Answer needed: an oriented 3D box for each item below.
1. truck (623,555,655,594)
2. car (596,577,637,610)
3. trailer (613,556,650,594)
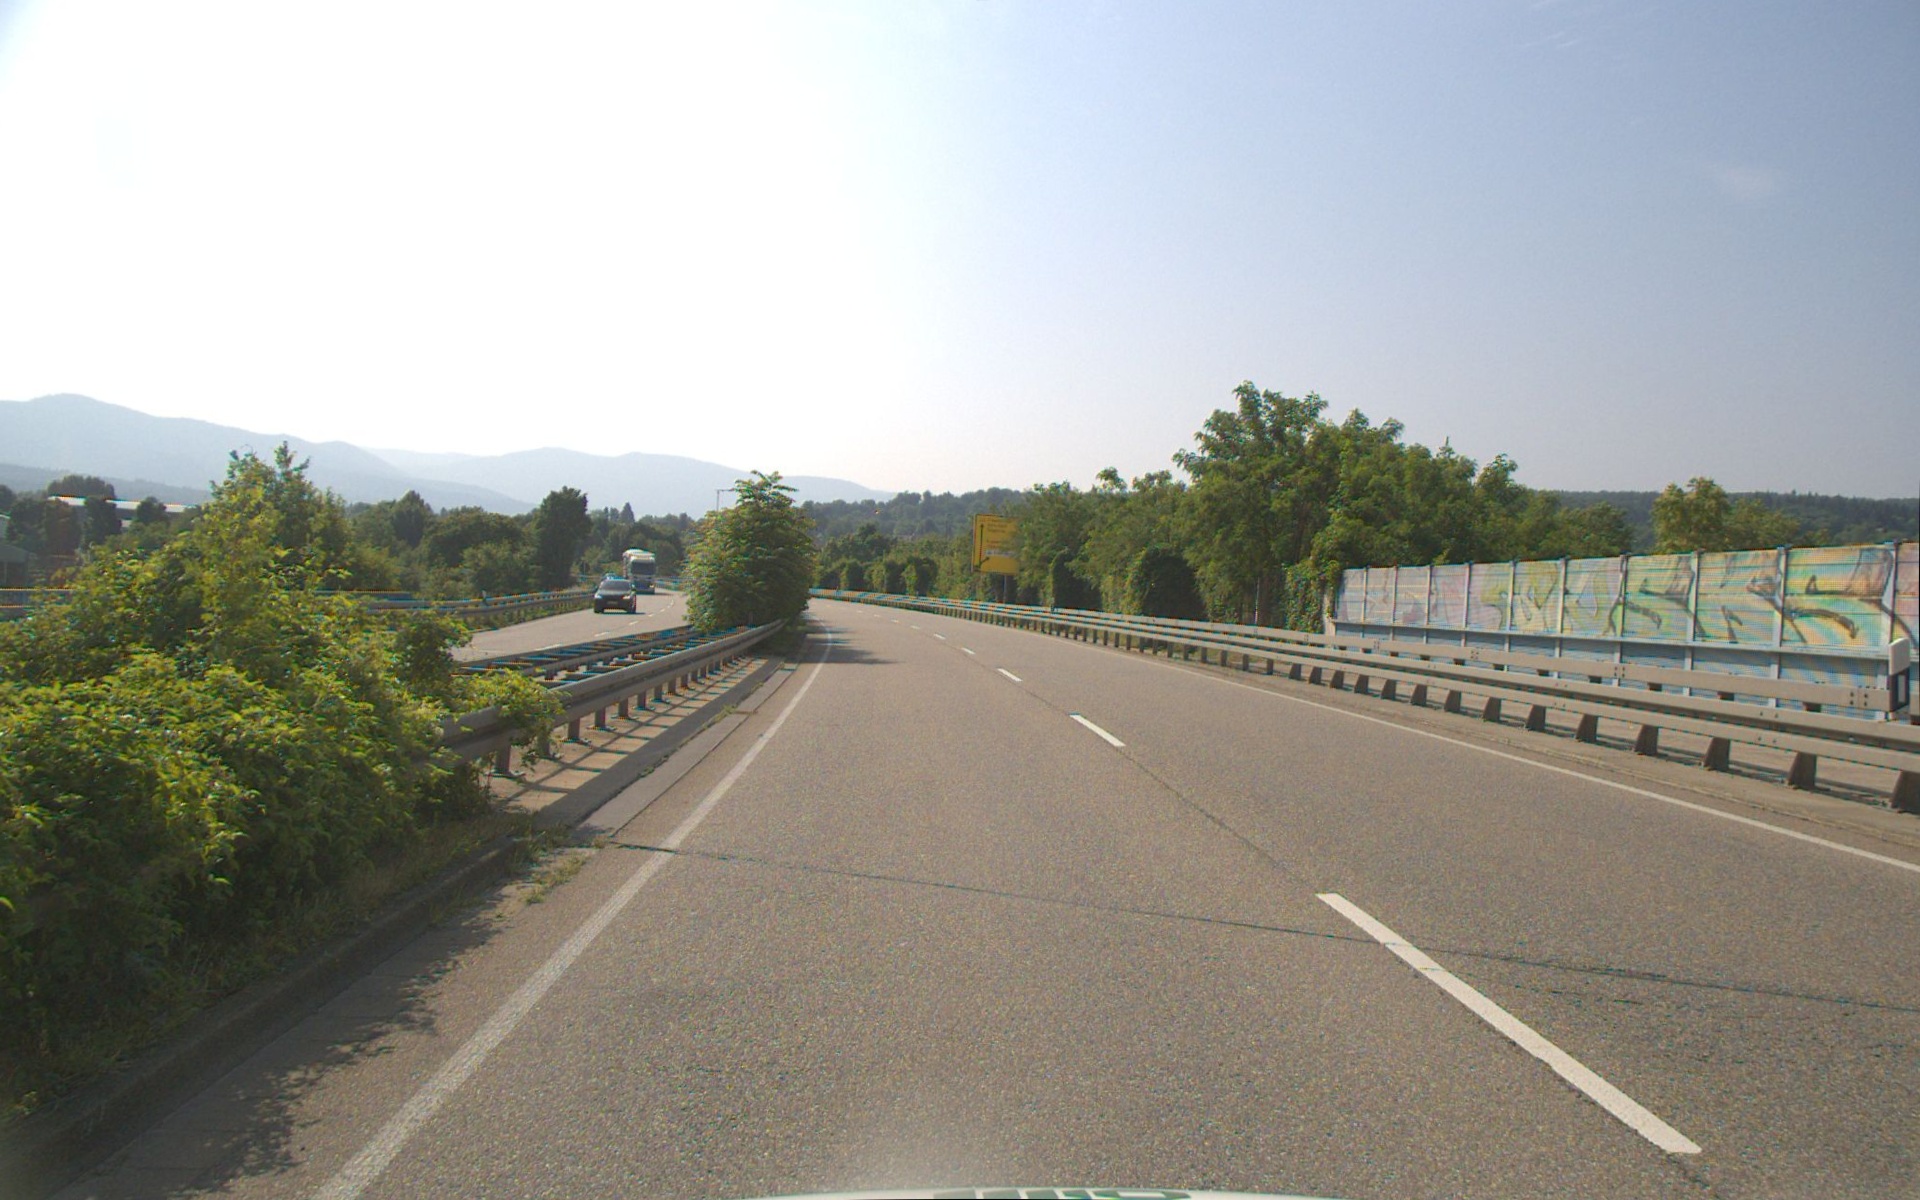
[{"bbox_3d":[-31.797,-2.519,163.895,2.242,3.751,4.192,1,0,-23],"label":"truck"},{"bbox_3d":[-17.177,-0.347,82.729,1.635,1.592,3.485,0,0,-6],"label":"car"},{"bbox_3d":[-33.347,-2.576,167.719,2.244,3.746,7.412,1,1,-22],"label":"trailer"}]
